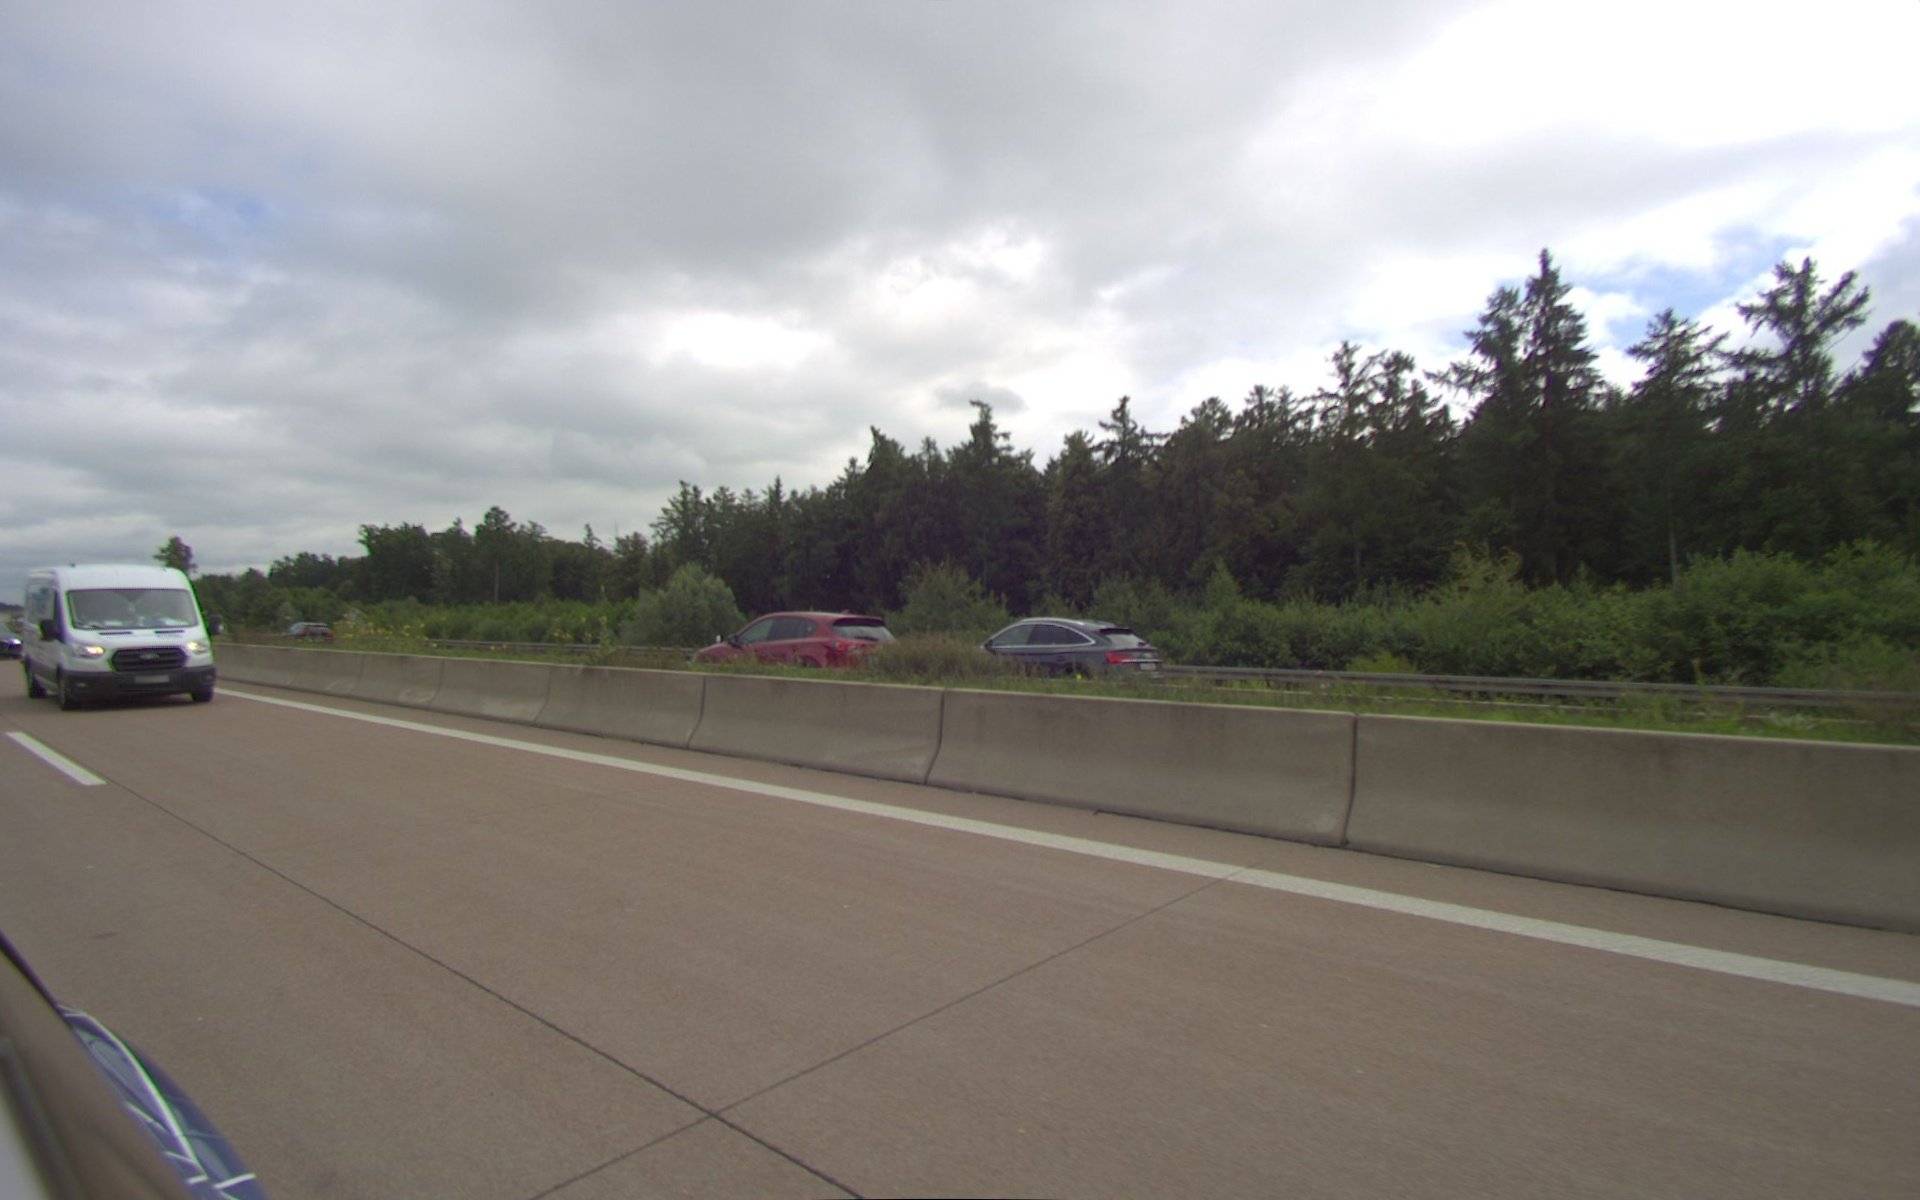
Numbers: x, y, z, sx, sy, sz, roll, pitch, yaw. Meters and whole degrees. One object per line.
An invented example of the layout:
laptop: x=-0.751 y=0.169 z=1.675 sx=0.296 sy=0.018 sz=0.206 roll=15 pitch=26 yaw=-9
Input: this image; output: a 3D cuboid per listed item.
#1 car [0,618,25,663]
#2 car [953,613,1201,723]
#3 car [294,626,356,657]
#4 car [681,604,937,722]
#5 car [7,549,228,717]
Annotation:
car: x=-35.921 y=1.468 z=36.948 sx=5.672 sy=1.562 sz=2.063 roll=-1 pitch=0 yaw=42
car: x=1.997 y=1.105 z=17.965 sx=3.998 sy=1.687 sz=1.898 roll=-1 pitch=0 yaw=41
car: x=-35.947 y=2.324 z=57.236 sx=3.998 sy=1.660 sz=1.898 roll=-1 pitch=0 yaw=41
car: x=-2.700 y=0.990 z=17.525 sx=4.428 sy=1.687 sz=1.943 roll=-1 pitch=2 yaw=41
car: x=-15.465 y=0.559 z=18.369 sx=7.130 sy=2.526 sz=2.115 roll=-1 pitch=-1 yaw=42
